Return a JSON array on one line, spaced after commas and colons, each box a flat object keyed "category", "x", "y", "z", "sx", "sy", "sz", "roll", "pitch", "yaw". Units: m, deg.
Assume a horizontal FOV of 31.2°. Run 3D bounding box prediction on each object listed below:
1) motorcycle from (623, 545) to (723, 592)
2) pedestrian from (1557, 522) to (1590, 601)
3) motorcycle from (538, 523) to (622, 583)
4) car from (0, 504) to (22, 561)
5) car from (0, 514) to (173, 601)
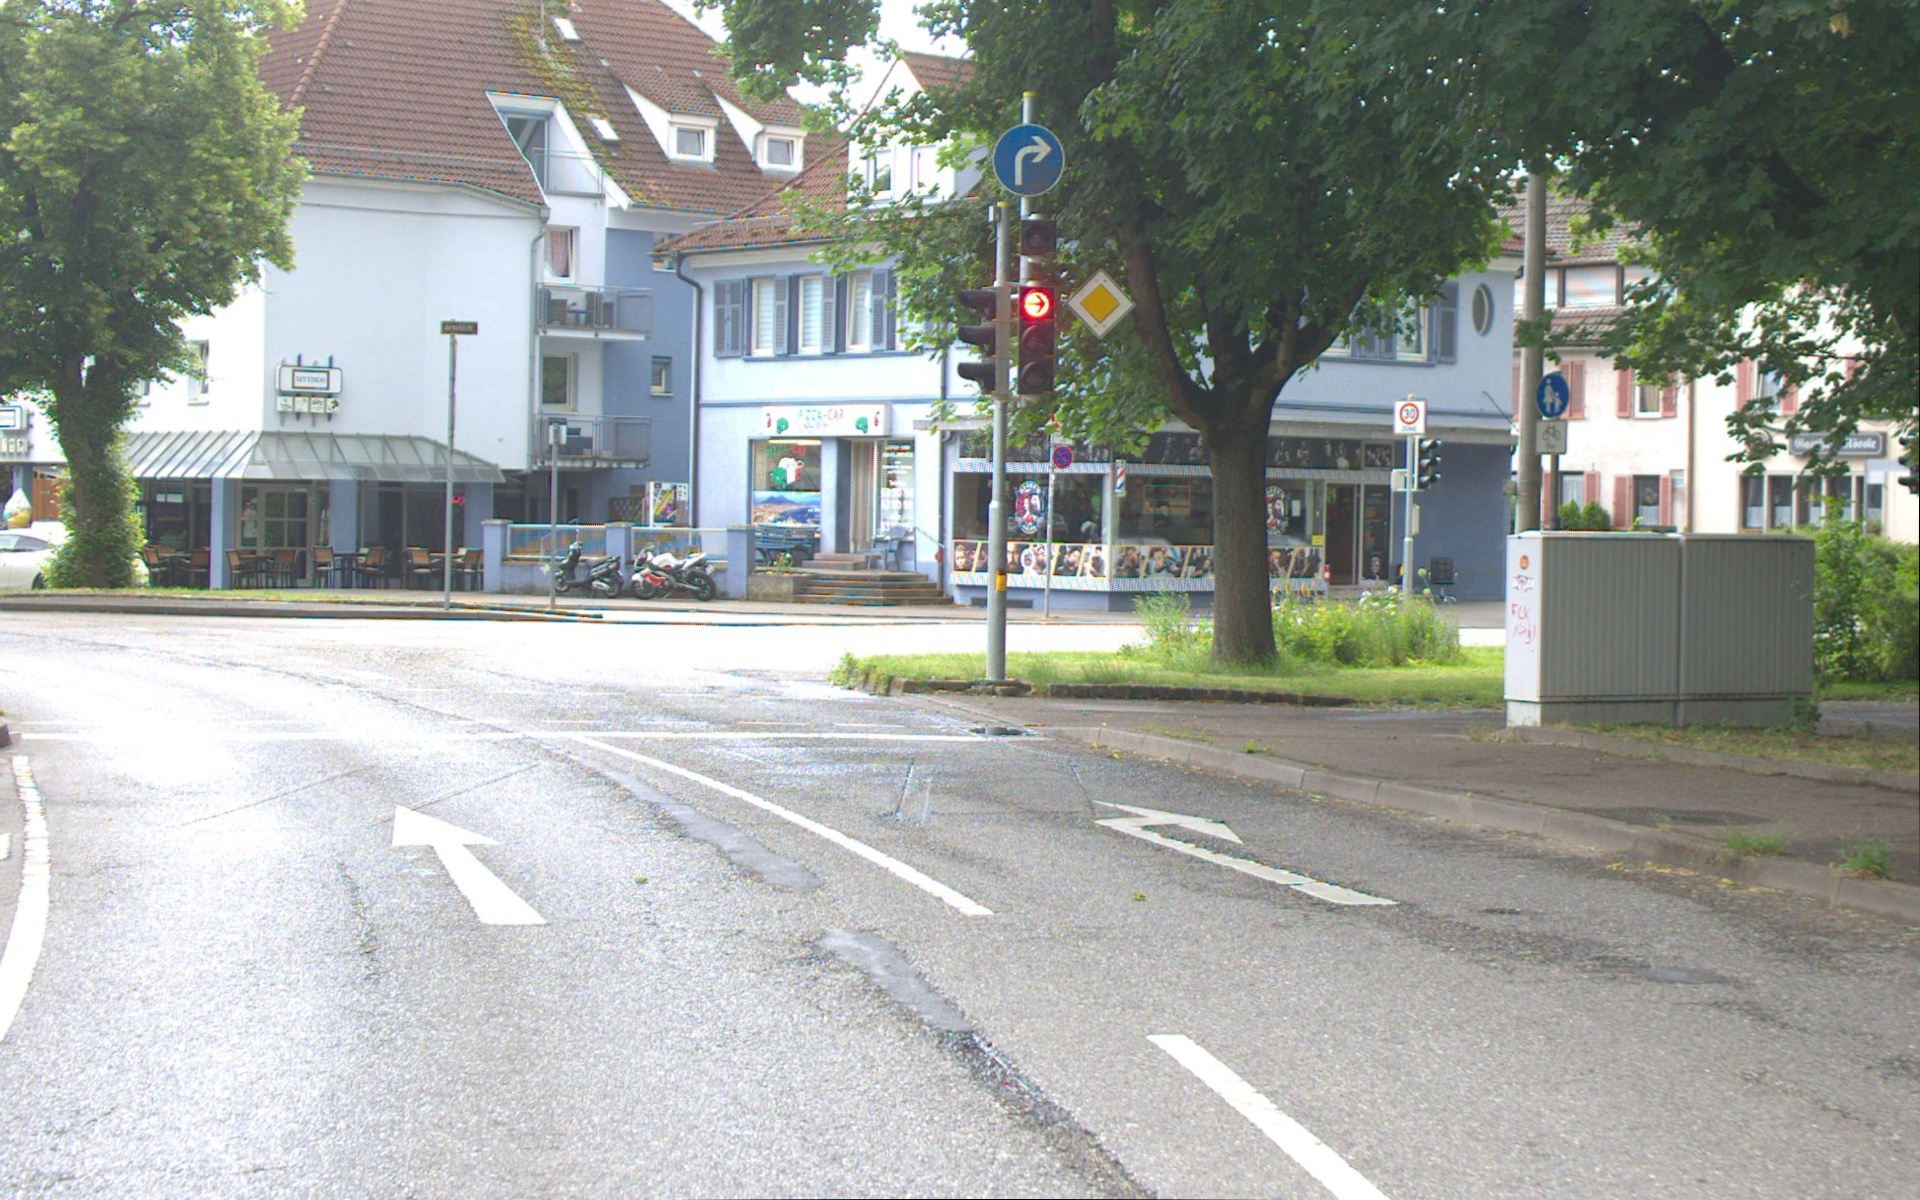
[{"category": "motorcycle", "x": -5.540, "y": -0.607, "z": 66.363, "sx": 1.838, "sy": 0.845, "sz": 0.560, "roll": 0, "pitch": 7, "yaw": 21}, {"category": "pedestrian", "x": 12.116, "y": -0.766, "z": 67.893, "sx": 0.404, "sy": 1.546, "sz": 0.500, "roll": -1, "pitch": 2, "yaw": -43}, {"category": "motorcycle", "x": -7.461, "y": -0.920, "z": 67.542, "sx": 1.496, "sy": 1.103, "sz": 0.560, "roll": 0, "pitch": 7, "yaw": 17}, {"category": "car", "x": -26.405, "y": -1.733, "z": 88.542, "sx": 3.987, "sy": 1.481, "sz": 1.760, "roll": -1, "pitch": 2, "yaw": -35}, {"category": "car", "x": -16.520, "y": -0.767, "z": 61.080, "sx": 4.582, "sy": 1.512, "sz": 1.998, "roll": 0, "pitch": 1, "yaw": 19}]
